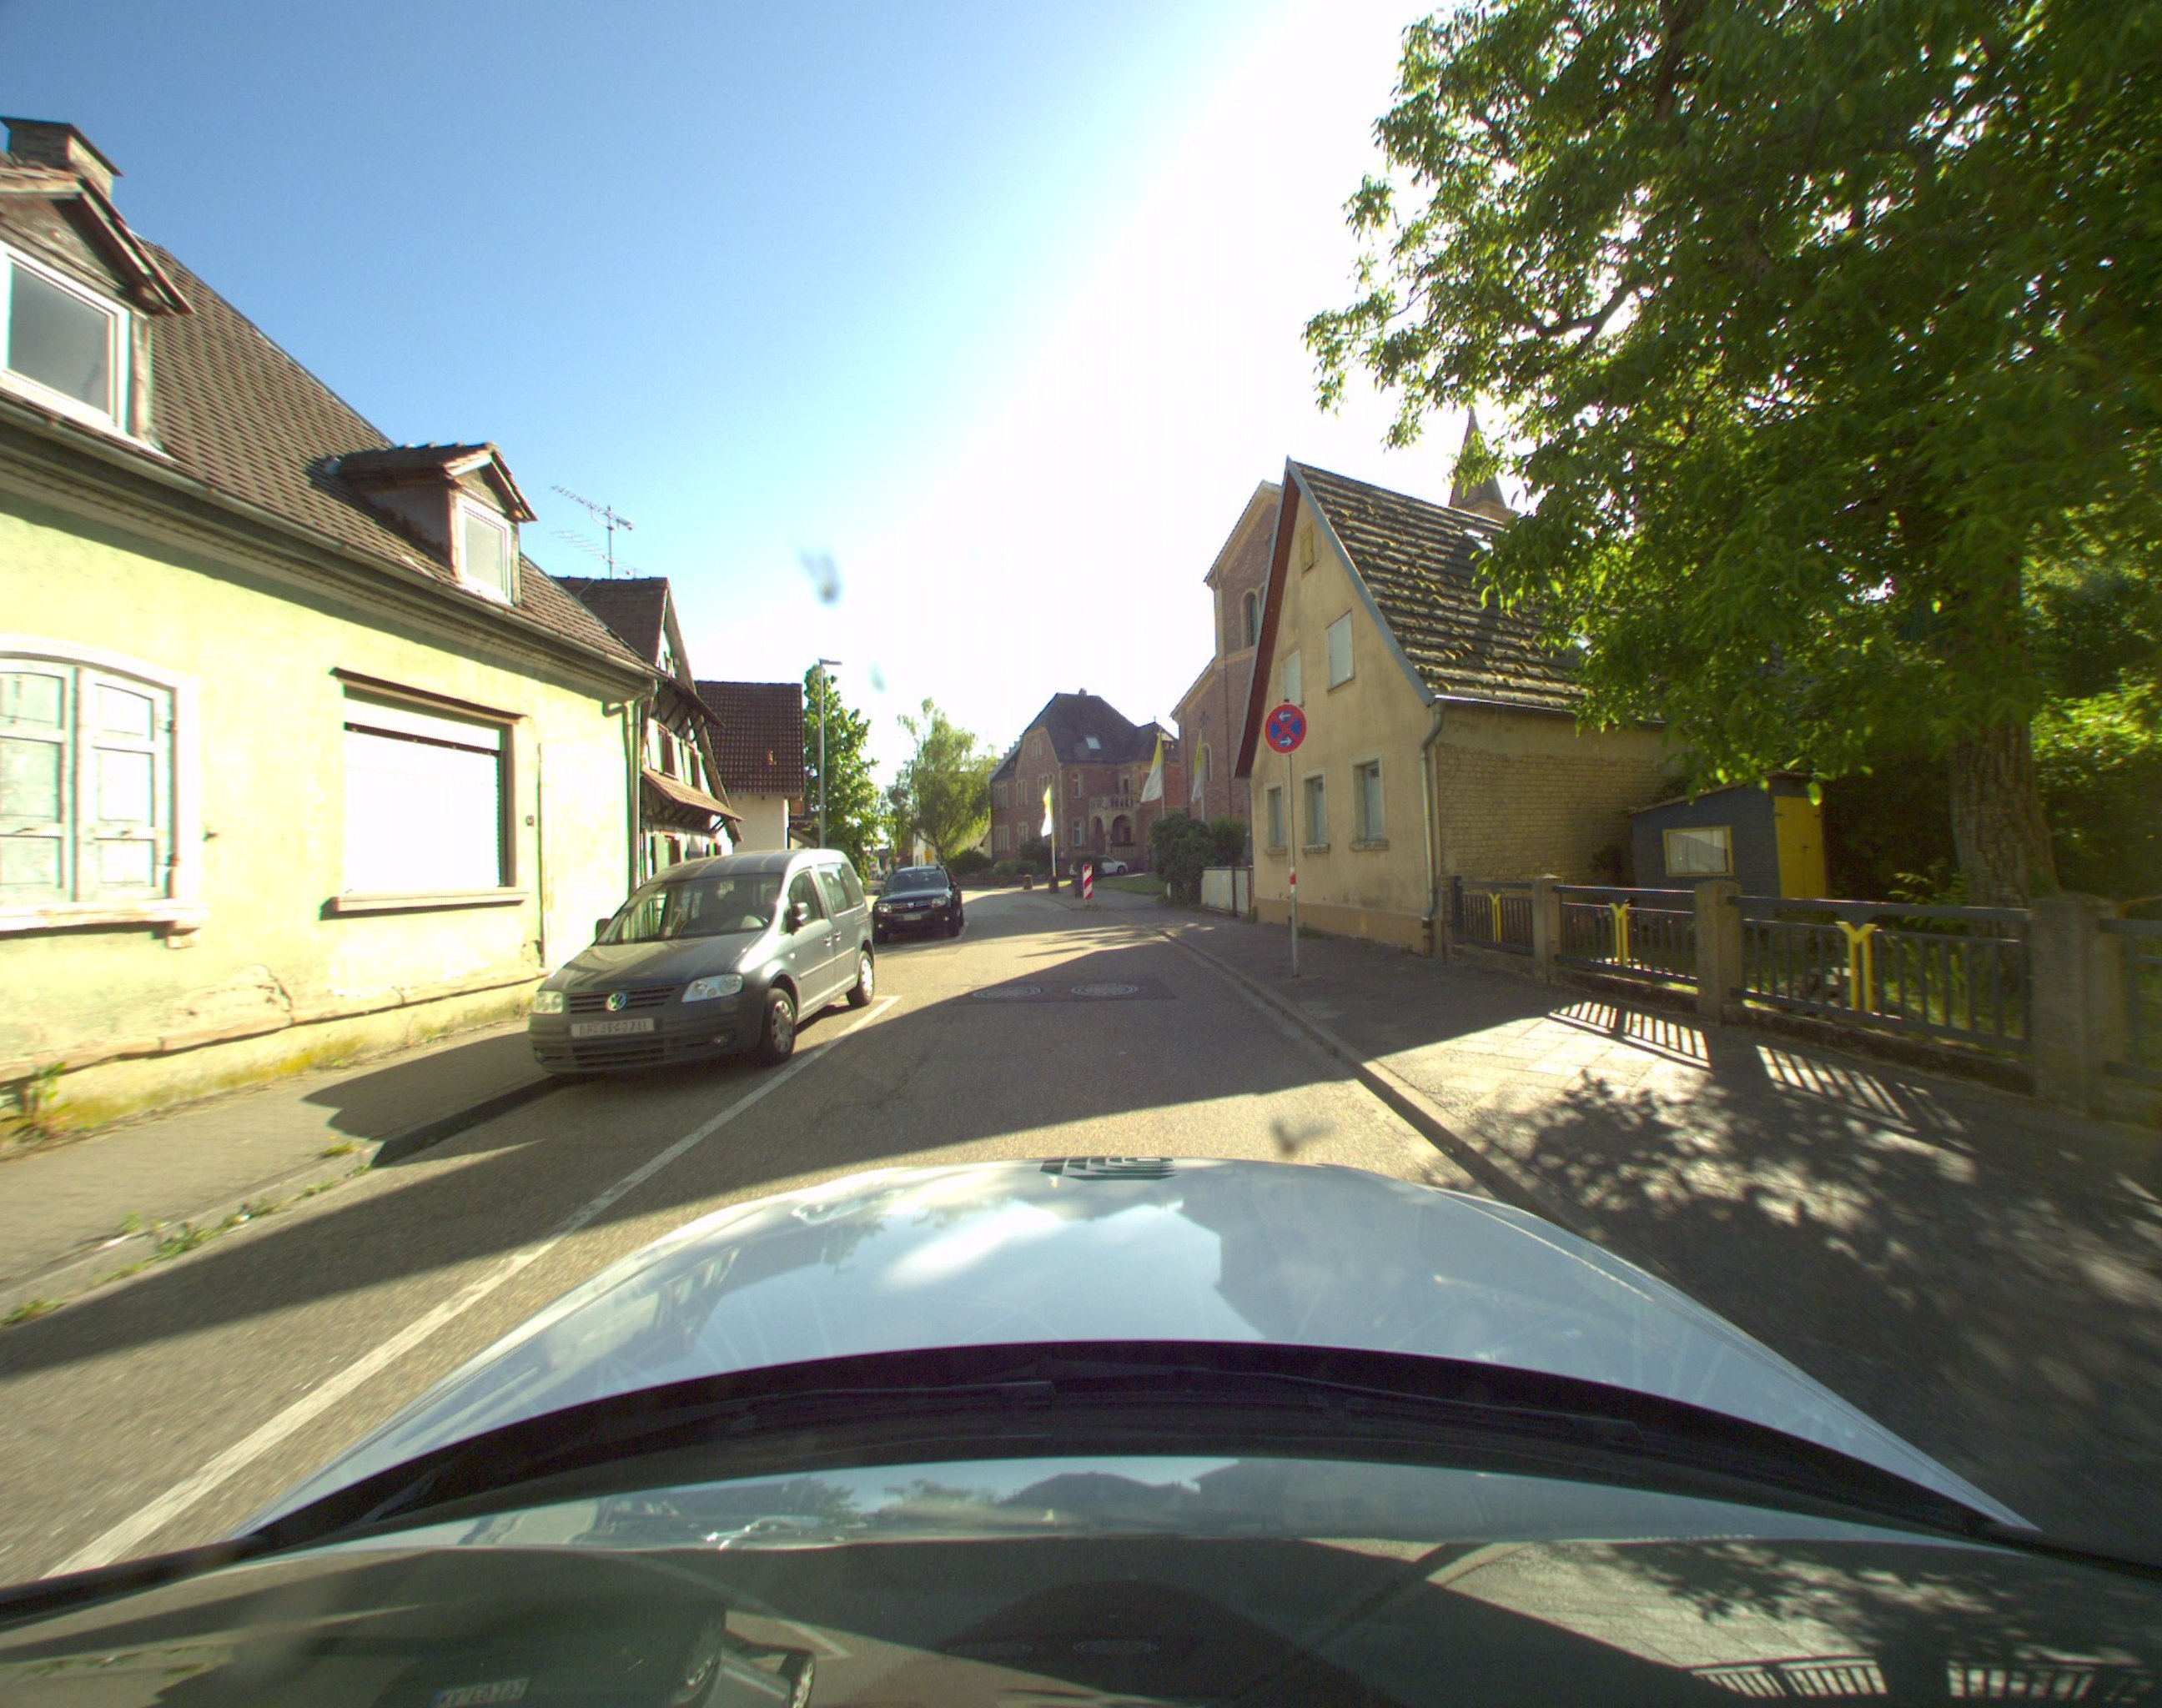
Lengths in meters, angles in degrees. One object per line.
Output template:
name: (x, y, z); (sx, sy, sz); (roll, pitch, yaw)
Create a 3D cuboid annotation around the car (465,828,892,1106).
car: (-3.307, 0.802, 7.847); (1.826, 1.789, 4.352); (-4, -1, 0)

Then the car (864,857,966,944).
car: (-3.746, 0.984, 19.077); (1.830, 1.671, 4.342); (-4, 0, -6)

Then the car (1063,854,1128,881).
car: (0.978, 0.917, 55.152); (3.923, 1.496, 1.886); (-4, -1, -30)

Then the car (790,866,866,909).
car: (-10.037, 1.304, 32.626); (1.813, 1.596, 4.440); (0, -2, -3)

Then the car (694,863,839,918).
car: (-9.634, 1.098, 25.167); (4.001, 1.589, 1.986); (1, -1, -21)

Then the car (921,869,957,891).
car: (-10.257, 1.854, 58.622); (1.656, 1.479, 3.901); (0, -2, -24)
